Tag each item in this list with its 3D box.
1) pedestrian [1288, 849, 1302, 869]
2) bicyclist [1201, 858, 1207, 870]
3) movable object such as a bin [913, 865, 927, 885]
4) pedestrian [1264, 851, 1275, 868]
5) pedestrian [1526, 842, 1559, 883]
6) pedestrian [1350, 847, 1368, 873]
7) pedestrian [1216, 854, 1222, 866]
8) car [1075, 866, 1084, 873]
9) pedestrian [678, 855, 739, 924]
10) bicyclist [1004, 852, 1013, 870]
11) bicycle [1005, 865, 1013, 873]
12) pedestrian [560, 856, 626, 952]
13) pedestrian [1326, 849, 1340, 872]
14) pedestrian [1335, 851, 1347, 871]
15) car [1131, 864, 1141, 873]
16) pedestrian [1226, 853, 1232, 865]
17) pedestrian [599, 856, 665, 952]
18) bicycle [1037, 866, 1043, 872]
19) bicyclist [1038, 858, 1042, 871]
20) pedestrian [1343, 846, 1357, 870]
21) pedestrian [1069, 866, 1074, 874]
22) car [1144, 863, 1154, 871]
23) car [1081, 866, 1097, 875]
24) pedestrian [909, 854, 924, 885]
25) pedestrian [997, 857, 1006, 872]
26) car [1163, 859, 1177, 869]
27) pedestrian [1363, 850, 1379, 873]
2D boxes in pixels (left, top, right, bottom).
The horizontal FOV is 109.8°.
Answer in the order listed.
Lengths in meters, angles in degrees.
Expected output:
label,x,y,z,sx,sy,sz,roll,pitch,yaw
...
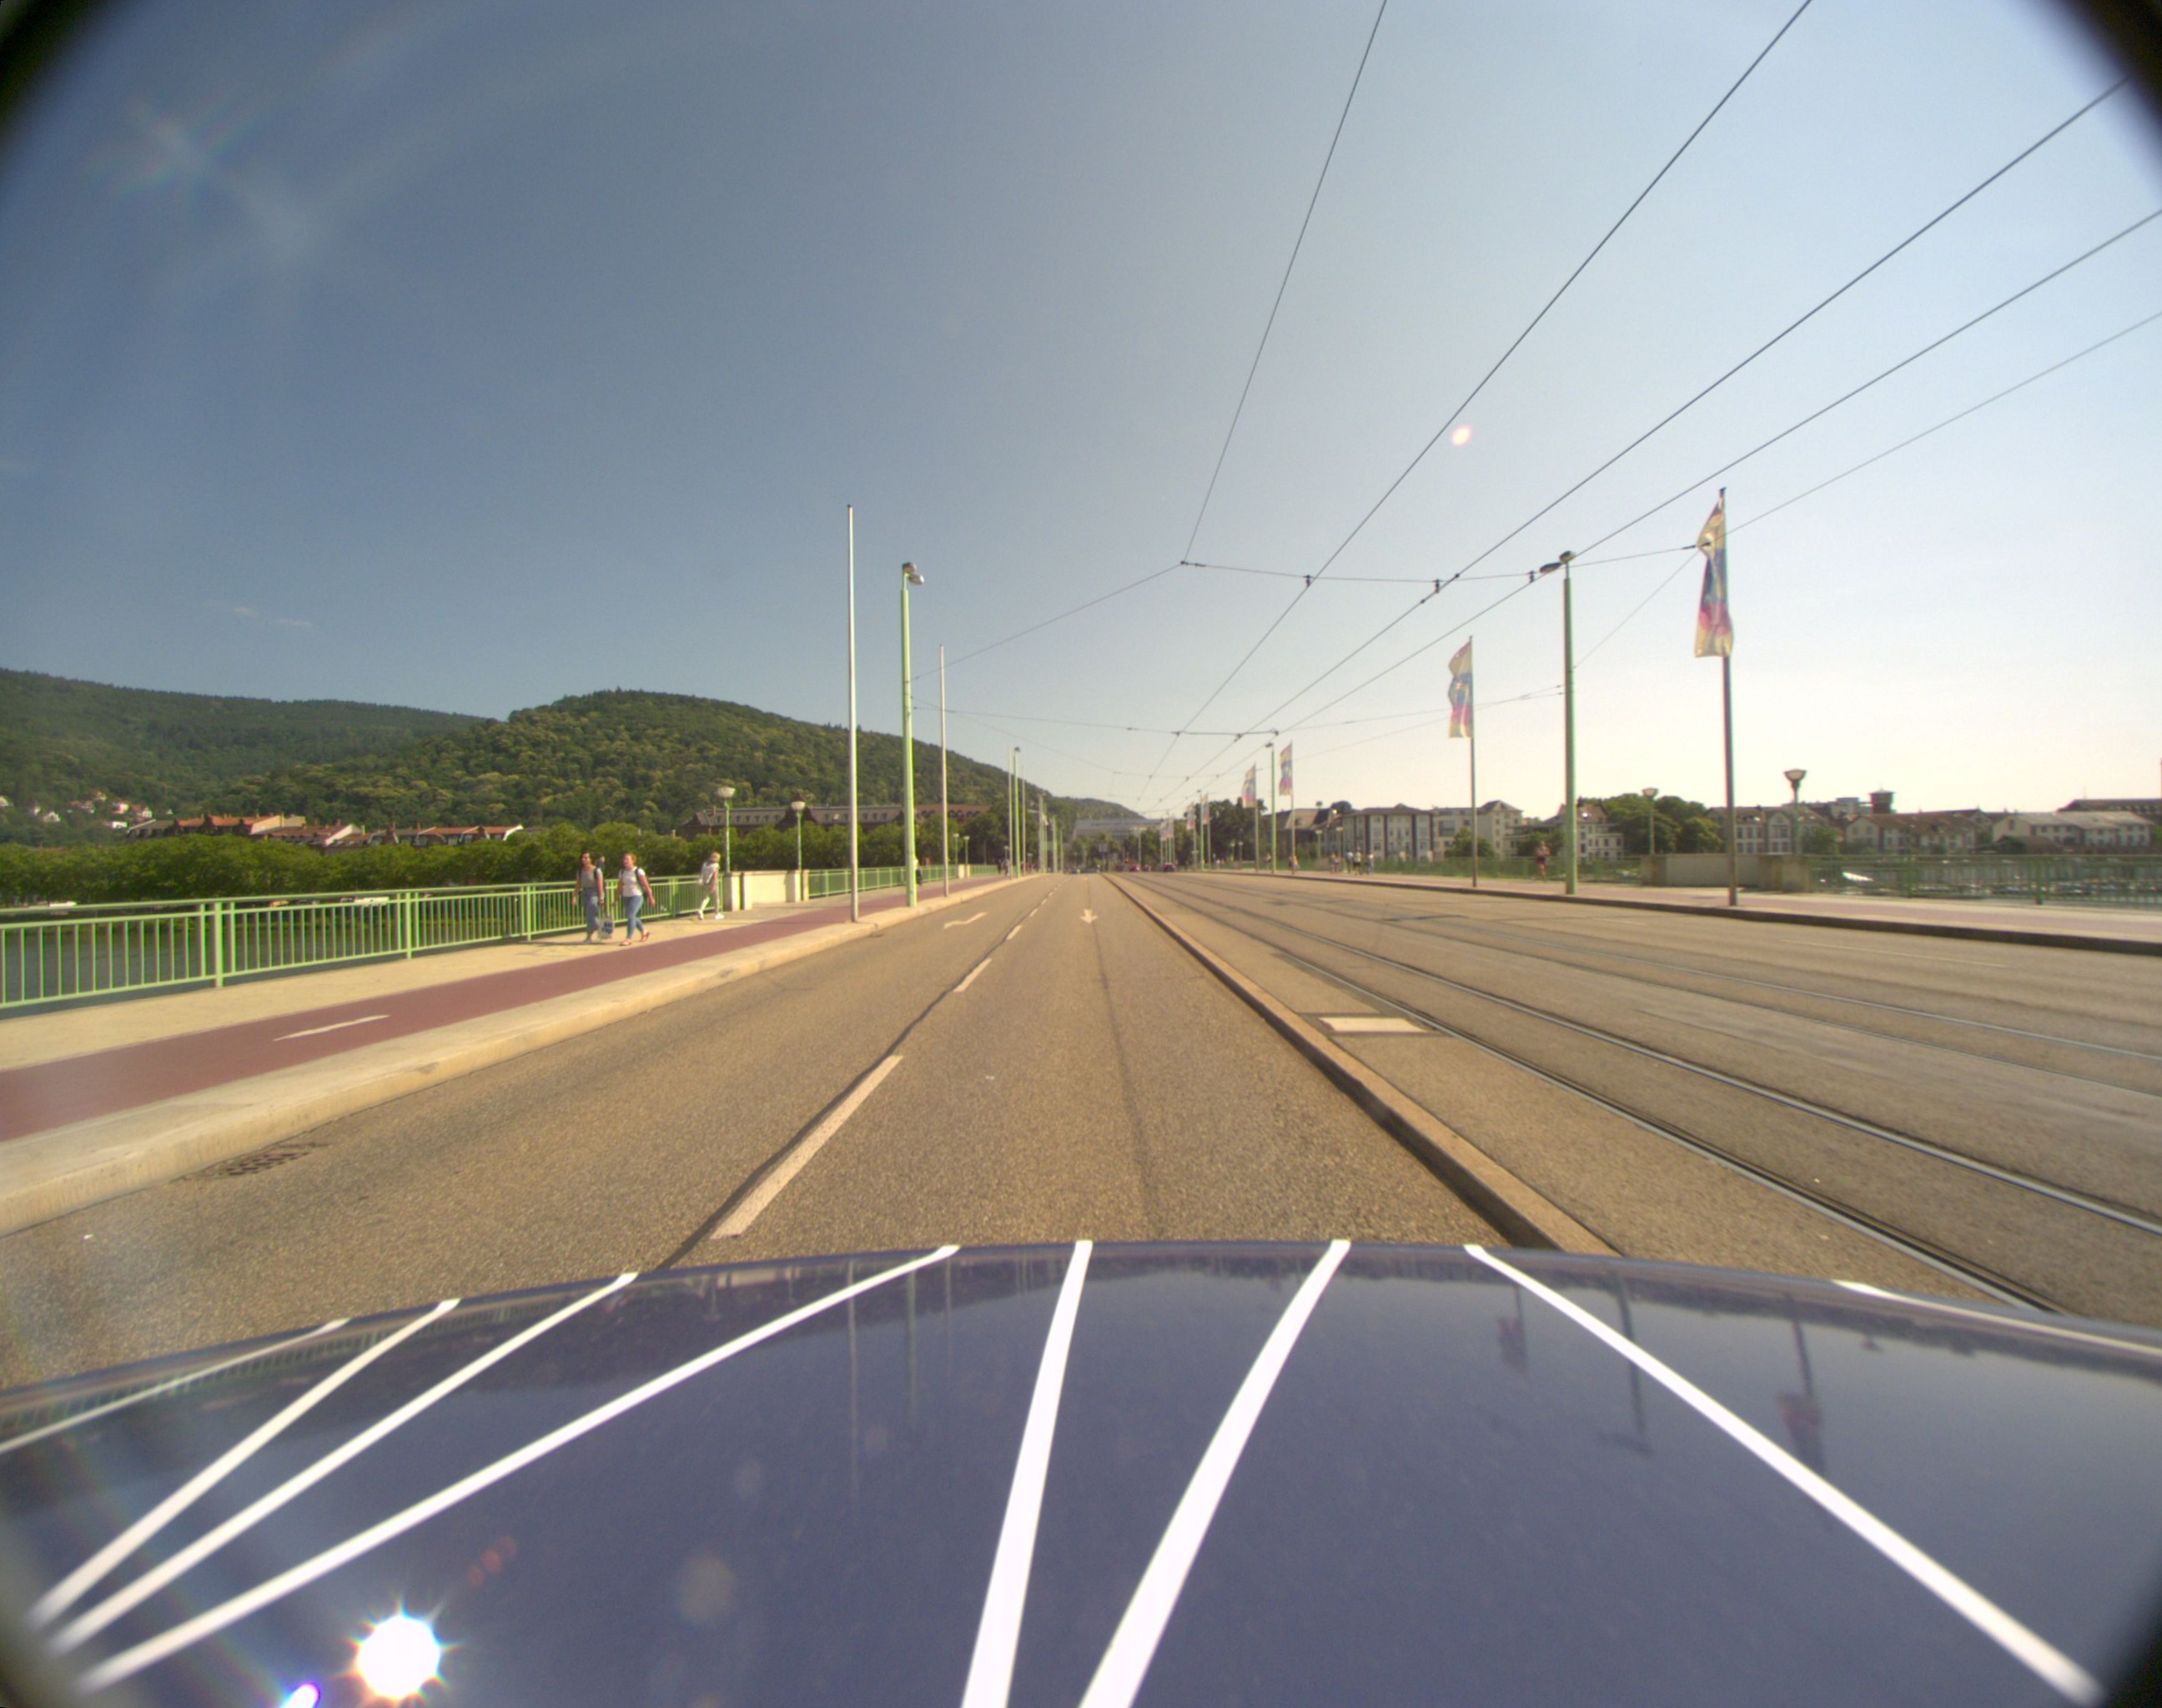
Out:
label,x,y,z,sx,sy,sz,roll,pitch,yaw
pedestrian,18.545,0.436,65.848,0.787,1.690,1.022,-3,0,0
bicyclist,17.852,1.437,110.230,0.666,1.641,0.622,-1,0,1
movable object such as a bin,-8.930,1.149,42.245,0.583,1.084,0.933,0,0,0
pedestrian,19.251,0.581,77.684,0.787,1.690,1.022,-3,0,0
pedestrian,19.554,0.359,32.200,0.686,1.680,1.022,-3,0,0
pedestrian,18.318,0.379,50.075,0.671,1.690,1.022,-3,0,0
pedestrian,19.869,0.875,109.397,0.592,1.690,1.022,-6,0,0
car,-0.311,3.533,173.714,1.998,1.379,4.000,-6,0,1
pedestrian,-9.138,0.848,18.685,0.950,1.653,1.082,0,0,0
bicyclist,-6.777,0.684,71.406,0.731,1.655,0.844,-1,0,1
bicycle,-6.782,1.390,71.520,0.595,0.761,1.866,0,0,1
pedestrian,-8.659,0.872,13.516,0.669,1.650,0.745,0,1,0
pedestrian,18.499,0.468,55.708,0.627,1.590,1.022,-3,0,0
pedestrian,19.162,0.516,55.966,0.547,1.429,0.789,-3,1,0
car,11.412,3.041,157.077,1.714,1.686,4.000,-5,0,1
pedestrian,20.911,0.737,107.279,0.592,1.690,0.905,-6,0,0
pedestrian,-7.944,0.856,13.473,0.664,1.649,0.825,0,1,0
bicycle,-5.478,2.057,101.540,0.595,0.761,1.866,0,0,1
bicyclist,-5.470,1.357,101.512,0.587,1.759,0.672,0,1,1
pedestrian,19.830,0.305,56.006,0.592,1.690,1.022,-3,0,0
pedestrian,-2.420,4.230,202.513,1.202,2.002,1.034,-3,2,-4
car,14.576,2.786,163.010,1.672,1.428,4.000,-1,1,1
car,2.036,4.243,195.692,3.997,2.002,2.000,-6,0,-2
pedestrian,-8.958,0.844,41.388,0.664,1.696,0.859,0,1,0
pedestrian,-8.893,1.173,84.997,0.950,1.653,1.082,1,0,0
car,14.099,1.574,120.604,1.721,1.446,3.901,0,0,0
pedestrian,18.959,0.480,49.705,0.592,1.406,1.022,-3,0,0
